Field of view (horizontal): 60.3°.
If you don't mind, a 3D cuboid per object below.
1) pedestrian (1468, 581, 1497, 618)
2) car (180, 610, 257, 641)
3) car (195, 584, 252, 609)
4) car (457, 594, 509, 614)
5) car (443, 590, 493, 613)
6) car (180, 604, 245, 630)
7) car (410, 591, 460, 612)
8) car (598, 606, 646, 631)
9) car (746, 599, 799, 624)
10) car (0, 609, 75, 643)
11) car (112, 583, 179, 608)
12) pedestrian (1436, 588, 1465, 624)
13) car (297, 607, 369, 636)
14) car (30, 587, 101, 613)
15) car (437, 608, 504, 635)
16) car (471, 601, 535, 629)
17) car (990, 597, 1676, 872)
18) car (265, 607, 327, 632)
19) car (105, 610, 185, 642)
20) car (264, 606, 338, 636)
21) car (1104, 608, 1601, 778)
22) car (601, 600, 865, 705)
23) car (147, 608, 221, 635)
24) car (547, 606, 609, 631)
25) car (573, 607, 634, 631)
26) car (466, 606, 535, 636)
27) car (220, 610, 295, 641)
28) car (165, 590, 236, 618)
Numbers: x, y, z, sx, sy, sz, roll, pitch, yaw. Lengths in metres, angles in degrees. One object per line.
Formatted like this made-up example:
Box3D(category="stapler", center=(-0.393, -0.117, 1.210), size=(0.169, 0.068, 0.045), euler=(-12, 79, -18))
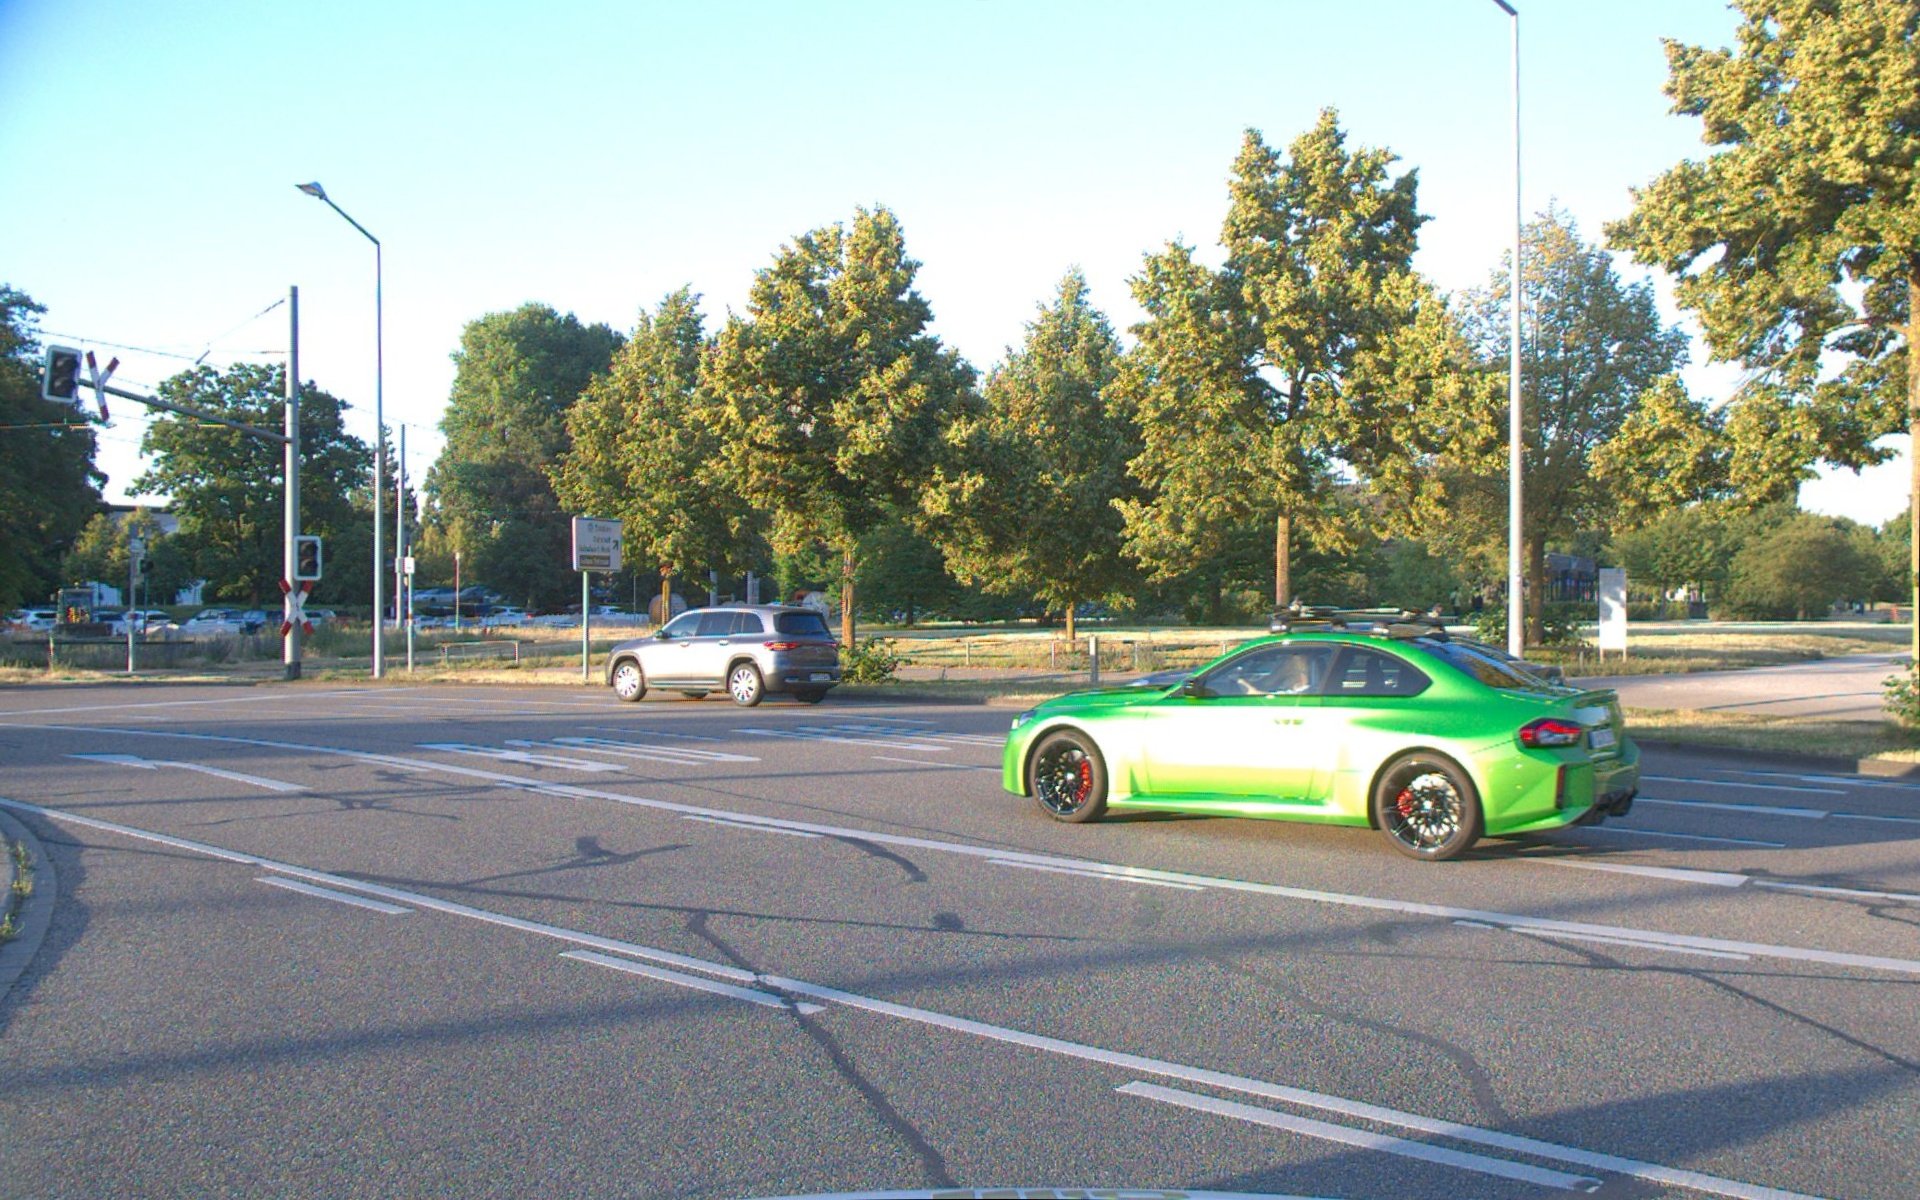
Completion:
Box3D(category="pedestrian", center=(23.500, -0.012, 74.439), size=(1.047, 1.646, 0.911), euler=(0, 0, 2))
Box3D(category="car", center=(-40.526, 1.381, 90.369), size=(3.915, 1.632, 1.995), euler=(0, 0, 32))
Box3D(category="car", center=(-63.374, -0.298, 142.351), size=(1.958, 2.049, 4.105), euler=(0, 0, 33))
Box3D(category="car", center=(-41.688, 0.323, 144.716), size=(3.902, 1.736, 2.001), euler=(0, 0, 6))
Box3D(category="car", center=(-44.089, 0.138, 148.229), size=(1.963, 2.049, 3.979), euler=(0, 0, 40))
Box3D(category="car", center=(-50.557, 1.130, 111.862), size=(3.939, 1.691, 1.983), euler=(0, 0, -27))
Box3D(category="car", center=(-47.950, 0.142, 151.055), size=(1.959, 1.847, 3.987), euler=(0, 0, 34))
Box3D(category="car", center=(-26.362, 1.416, 128.873), size=(1.979, 1.782, 4.538), euler=(0, 1, -37))
Box3D(category="car", center=(-12.999, 0.780, 114.667), size=(1.724, 1.646, 3.940), euler=(0, 0, -41))
Box3D(category="car", center=(-45.620, 1.254, 81.426), size=(3.915, 1.632, 1.995), euler=(0, 0, 32))
Box3D(category="car", center=(-67.116, -0.386, 136.330), size=(1.958, 2.049, 4.585), euler=(0, 0, 33))
Box3D(category="pedestrian", center=(22.458, 0.285, 75.749), size=(1.047, 1.646, 0.911), euler=(0, 0, 2))
Box3D(category="car", center=(-36.440, 1.211, 96.081), size=(3.915, 1.632, 1.995), euler=(0, 0, 32))
Box3D(category="car", center=(-70.532, 0.002, 130.455), size=(1.956, 2.049, 4.590), euler=(0, 0, 29))
Box3D(category="car", center=(-30.972, 1.342, 104.679), size=(3.915, 1.632, 1.995), euler=(0, 0, 32))
Box3D(category="car", center=(-34.591, 1.107, 125.256), size=(4.499, 2.049, 1.996), euler=(0, 0, -9))
Box3D(category="car", center=(2.567, 0.792, 11.856), size=(4.397, 1.606, 1.992), euler=(0, 0, 37))
Box3D(category="car", center=(-45.814, 1.342, 114.104), size=(3.933, 1.691, 1.889), euler=(0, 0, -23))
Box3D(category="car", center=(-42.250, 1.331, 85.779), size=(3.915, 1.632, 1.995), euler=(0, 0, 32))
Box3D(category="car", center=(-37.384, 1.185, 93.863), size=(3.915, 1.632, 1.995), euler=(0, 0, 32))
Box3D(category="car", center=(3.899, 0.837, 16.826), size=(4.578, 1.489, 1.879), euler=(0, 0, 37))
Box3D(category="car", center=(-3.970, 0.842, 28.582), size=(4.437, 1.666, 1.992), euler=(0, 0, 37))
Box3D(category="car", center=(-50.227, 1.391, 107.075), size=(1.863, 1.691, 3.987), euler=(0, 0, 34))
Box3D(category="car", center=(-26.267, 1.257, 113.668), size=(3.915, 1.632, 1.995), euler=(0, 0, 32))
Box3D(category="car", center=(-24.898, 1.342, 115.418), size=(3.915, 1.632, 1.995), euler=(0, 0, 32))
Box3D(category="car", center=(-32.522, 1.462, 117.148), size=(4.499, 2.049, 1.996), euler=(0, 0, -9))
Box3D(category="car", center=(-39.084, 1.413, 92.037), size=(3.915, 1.632, 1.995), euler=(0, 0, 32))
Box3D(category="car", center=(-56.645, 0.263, 123.482), size=(1.956, 2.049, 4.590), euler=(0, 0, 29))
